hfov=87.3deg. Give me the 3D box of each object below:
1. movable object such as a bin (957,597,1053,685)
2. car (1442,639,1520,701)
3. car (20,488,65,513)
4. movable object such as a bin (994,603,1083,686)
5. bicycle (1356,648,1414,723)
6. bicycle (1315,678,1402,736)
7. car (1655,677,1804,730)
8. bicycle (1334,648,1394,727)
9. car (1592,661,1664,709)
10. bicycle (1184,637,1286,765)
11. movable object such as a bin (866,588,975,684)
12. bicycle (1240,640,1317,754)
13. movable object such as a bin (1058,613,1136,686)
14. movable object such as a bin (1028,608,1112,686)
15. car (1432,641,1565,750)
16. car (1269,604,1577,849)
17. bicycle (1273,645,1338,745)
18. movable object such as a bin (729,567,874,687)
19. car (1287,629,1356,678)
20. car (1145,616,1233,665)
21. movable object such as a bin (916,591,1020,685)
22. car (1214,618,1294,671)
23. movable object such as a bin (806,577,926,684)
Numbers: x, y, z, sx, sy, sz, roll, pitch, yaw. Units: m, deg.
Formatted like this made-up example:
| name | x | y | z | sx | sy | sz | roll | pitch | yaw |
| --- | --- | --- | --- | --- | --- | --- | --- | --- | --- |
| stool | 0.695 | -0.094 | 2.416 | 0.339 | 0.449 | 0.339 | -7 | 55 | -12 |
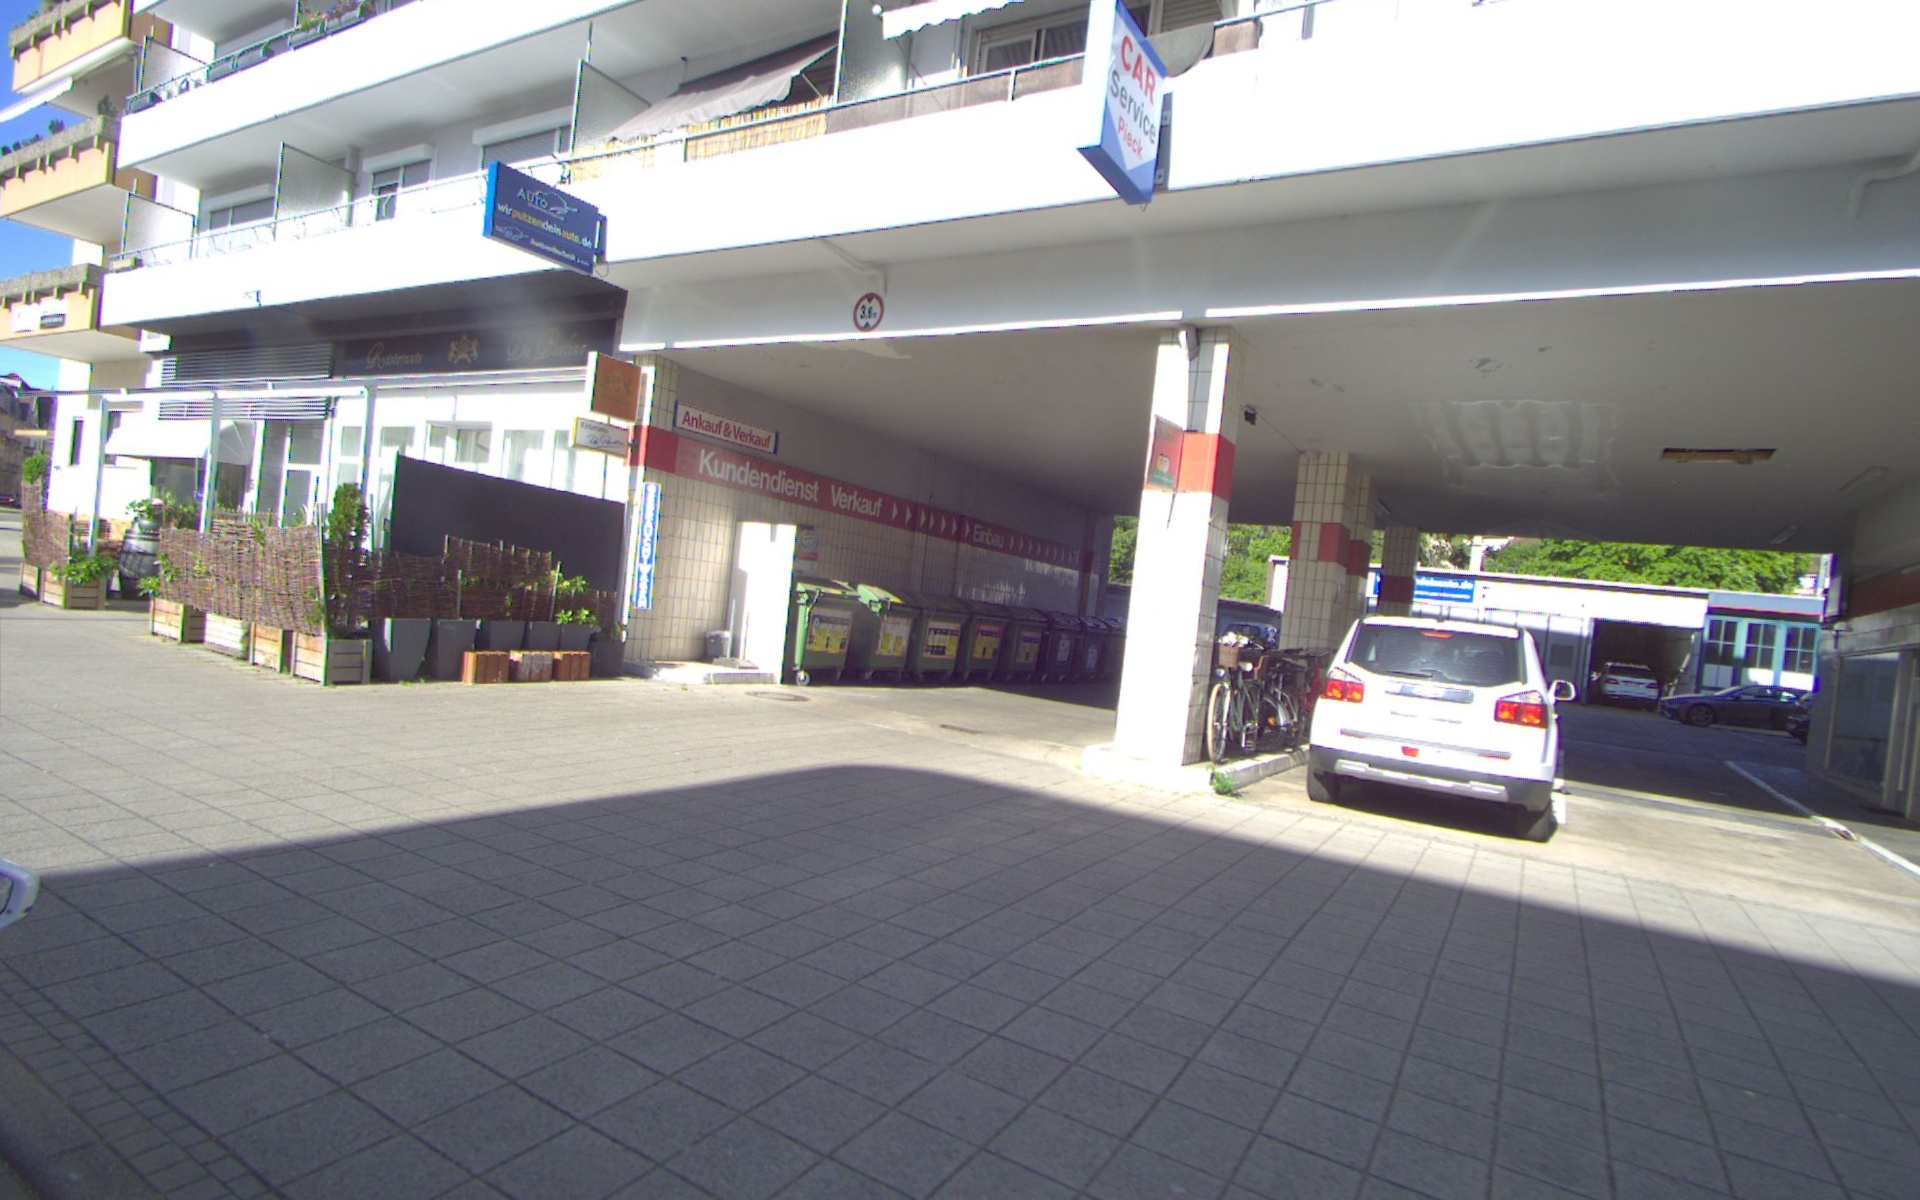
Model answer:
| name | x | y | z | sx | sy | sz | roll | pitch | yaw |
| --- | --- | --- | --- | --- | --- | --- | --- | --- | --- |
| movable object such as a bin | 0.857 | 0.794 | 19.038 | 1.221 | 1.524 | 1.327 | 4 | -2 | 32 |
| car | 16.279 | 2.209 | 31.571 | 1.883 | 1.605 | 3.997 | 7 | -1 | 26 |
| car | -82.018 | -8.855 | 89.980 | 2.418 | 1.833 | 4.675 | 7 | 0 | -37 |
| movable object such as a bin | 1.593 | 0.903 | 20.239 | 1.221 | 1.524 | 1.327 | 4 | -2 | 32 |
| bicycle | 7.778 | 1.583 | 18.358 | 0.562 | 1.249 | 2.088 | 4 | -3 | 32 |
| bicycle | 5.735 | 1.533 | 14.510 | 1.061 | 0.674 | 0.323 | 7 | 1 | 34 |
| car | 22.287 | 2.980 | 29.293 | 3.170 | 1.182 | 1.996 | 4 | -2 | 32 |
| bicycle | 6.605 | 1.411 | 16.388 | 0.475 | 1.176 | 2.056 | 4 | -1 | 33 |
| car | 26.778 | 3.414 | 40.446 | 1.884 | 1.605 | 3.995 | 7 | -1 | 29 |
| bicycle | 2.638 | 0.943 | 9.547 | 0.459 | 1.090 | 1.568 | 4 | -2 | 31 |
| movable object such as a bin | -0.639 | 0.594 | 16.528 | 1.166 | 1.436 | 1.292 | 4 | -2 | 33 |
| bicycle | 3.499 | 1.042 | 10.967 | 0.458 | 1.122 | 1.589 | 4 | -2 | 28 |
| movable object such as a bin | 3.120 | 1.131 | 22.790 | 1.221 | 1.524 | 1.327 | 4 | -2 | 32 |
| movable object such as a bin | 2.357 | 1.016 | 21.474 | 1.221 | 1.524 | 1.327 | 4 | -2 | 32 |
| car | 9.234 | 1.596 | 17.195 | 1.706 | 1.494 | 3.994 | 4 | -2 | 30 |
| car | 4.440 | 0.994 | 9.314 | 1.946 | 1.531 | 4.395 | 6 | 0 | 30 |
| bicycle | 4.300 | 1.166 | 12.462 | 0.458 | 1.122 | 1.589 | 4 | -2 | 28 |
| movable object such as a bin | -2.192 | 0.397 | 14.053 | 1.244 | 1.517 | 1.464 | 4 | -2 | 30 |
| car | 12.571 | 1.893 | 34.866 | 1.727 | 1.459 | 3.997 | 4 | -2 | 26 |
| car | 9.013 | 1.613 | 39.431 | 1.969 | 1.592 | 3.990 | 4 | -2 | 34 |
| movable object such as a bin | 0.157 | 0.687 | 17.814 | 1.221 | 1.524 | 1.327 | 4 | -2 | 32 |
| car | 10.434 | 1.591 | 35.596 | 1.720 | 1.592 | 3.356 | 4 | -2 | 34 |
| movable object such as a bin | -1.416 | 0.484 | 15.300 | 1.143 | 1.484 | 1.332 | 4 | -2 | 31 |
